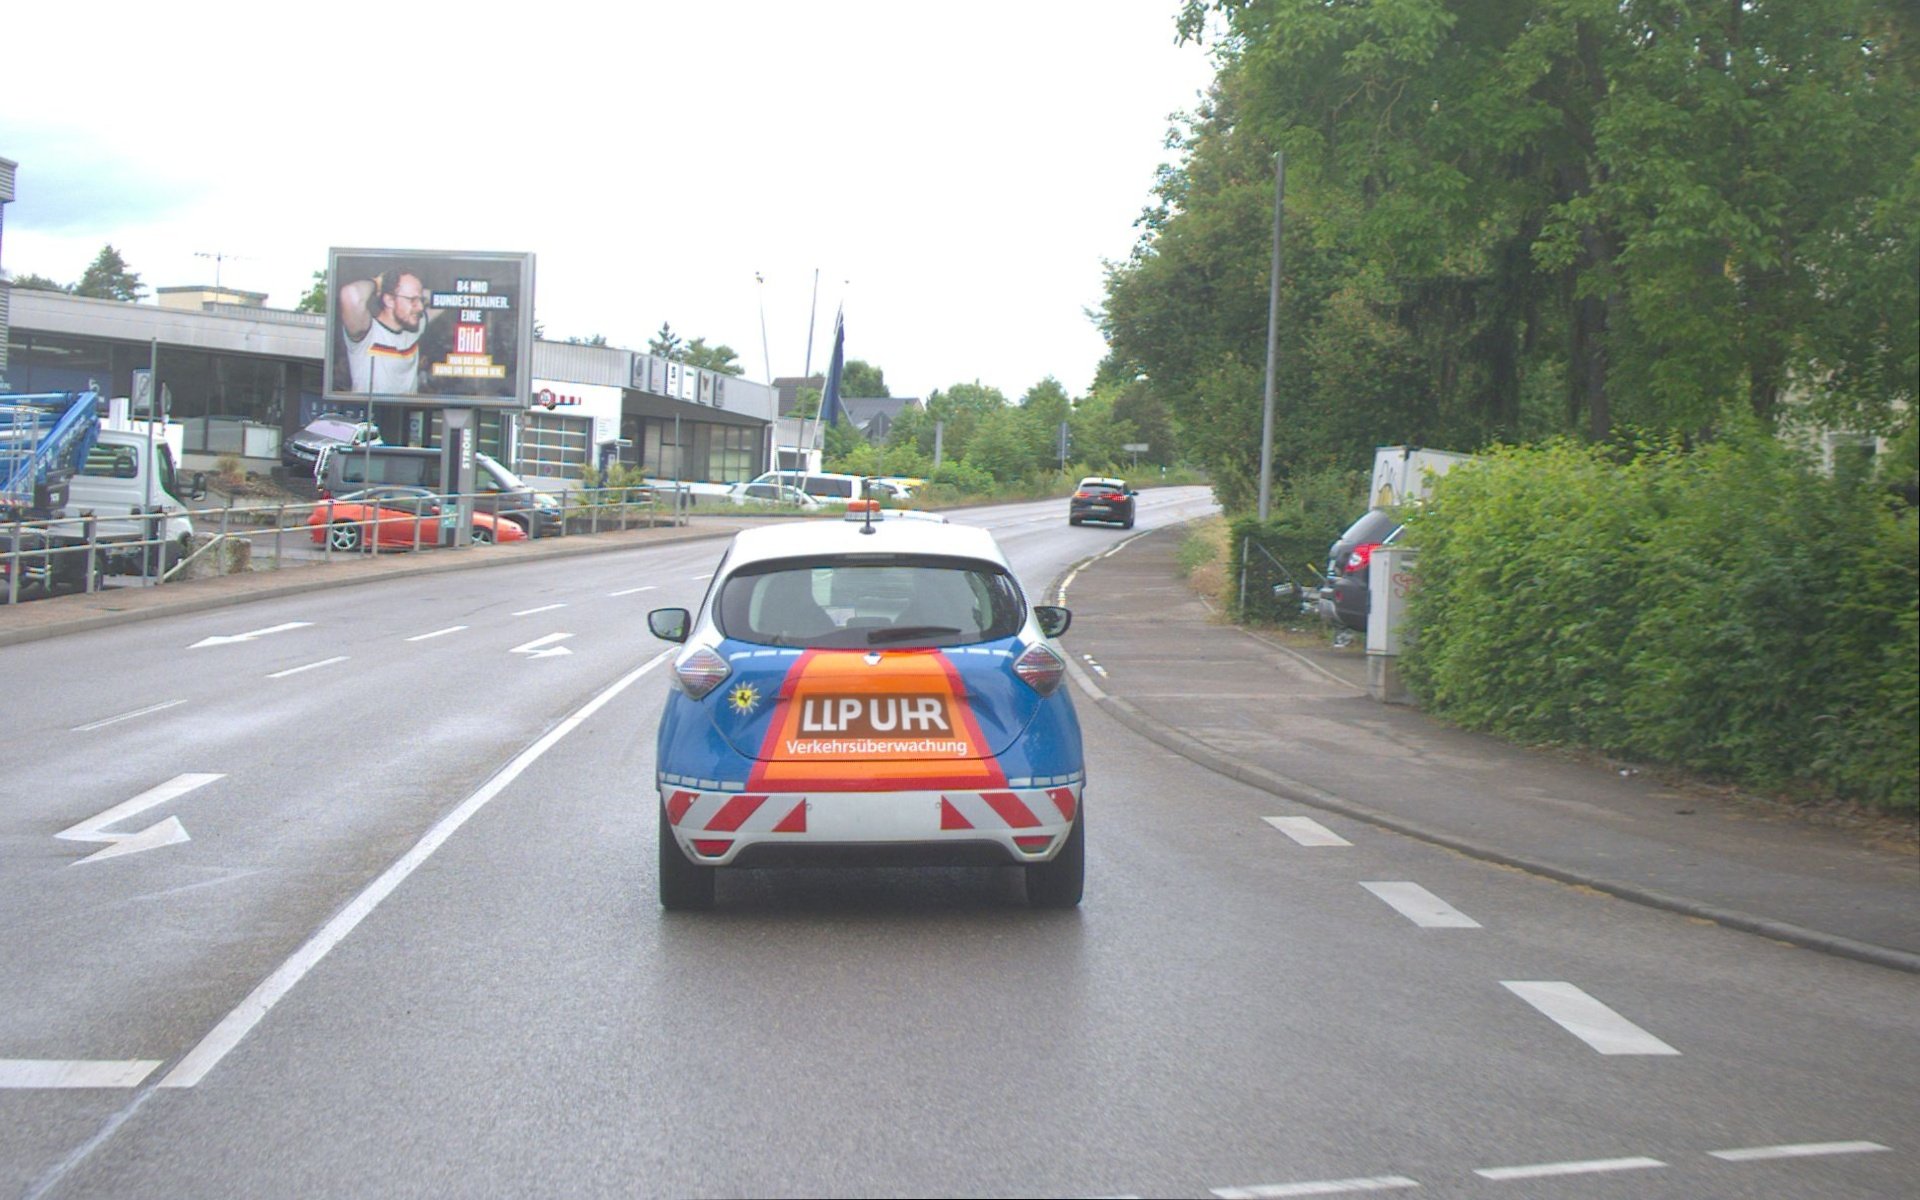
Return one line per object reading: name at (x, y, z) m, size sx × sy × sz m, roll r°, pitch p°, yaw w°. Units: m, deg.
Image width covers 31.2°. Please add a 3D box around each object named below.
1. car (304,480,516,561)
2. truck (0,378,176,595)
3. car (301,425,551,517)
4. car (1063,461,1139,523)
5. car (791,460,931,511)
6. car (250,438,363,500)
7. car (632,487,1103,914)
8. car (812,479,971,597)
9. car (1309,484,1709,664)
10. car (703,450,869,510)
car at (-10.701, -1.546, 66.956) m, size 3.986 × 1.371 × 1.815 m, roll 2°, pitch 1°, yaw -9°
truck at (-11.690, -1.451, 43.088) m, size 1.994 × 2.530 × 5.558 m, roll 3°, pitch 2°, yaw 4°
car at (-10.834, -2.612, 69.996) m, size 4.756 × 1.618 × 1.814 m, roll 3°, pitch 1°, yaw 0°
car at (4.185, -3.169, 101.488) m, size 1.994 × 1.678 × 3.999 m, roll 2°, pitch 1°, yaw 5°
car at (-3.646, -4.200, 126.705) m, size 4.755 × 1.618 × 1.815 m, roll 2°, pitch 1°, yaw -26°
car at (-18.207, -3.639, 95.921) m, size 1.592 × 1.510 × 3.998 m, roll 3°, pitch 1°, yaw 12°
car at (-0.508, 0.379, 14.998) m, size 1.745 × 1.576 × 4.001 m, roll 1°, pitch 0°, yaw -5°
car at (-0.958, -0.924, 50.129) m, size 1.994 × 1.568 × 4.000 m, roll 2°, pitch 2°, yaw 3°
car at (5.770, -0.298, 36.584) m, size 3.987 × 1.717 × 2.000 m, roll 2°, pitch 2°, yaw 5°
car at (-5.380, -3.708, 106.403) m, size 4.755 × 1.618 × 1.815 m, roll 2°, pitch 1°, yaw -26°
